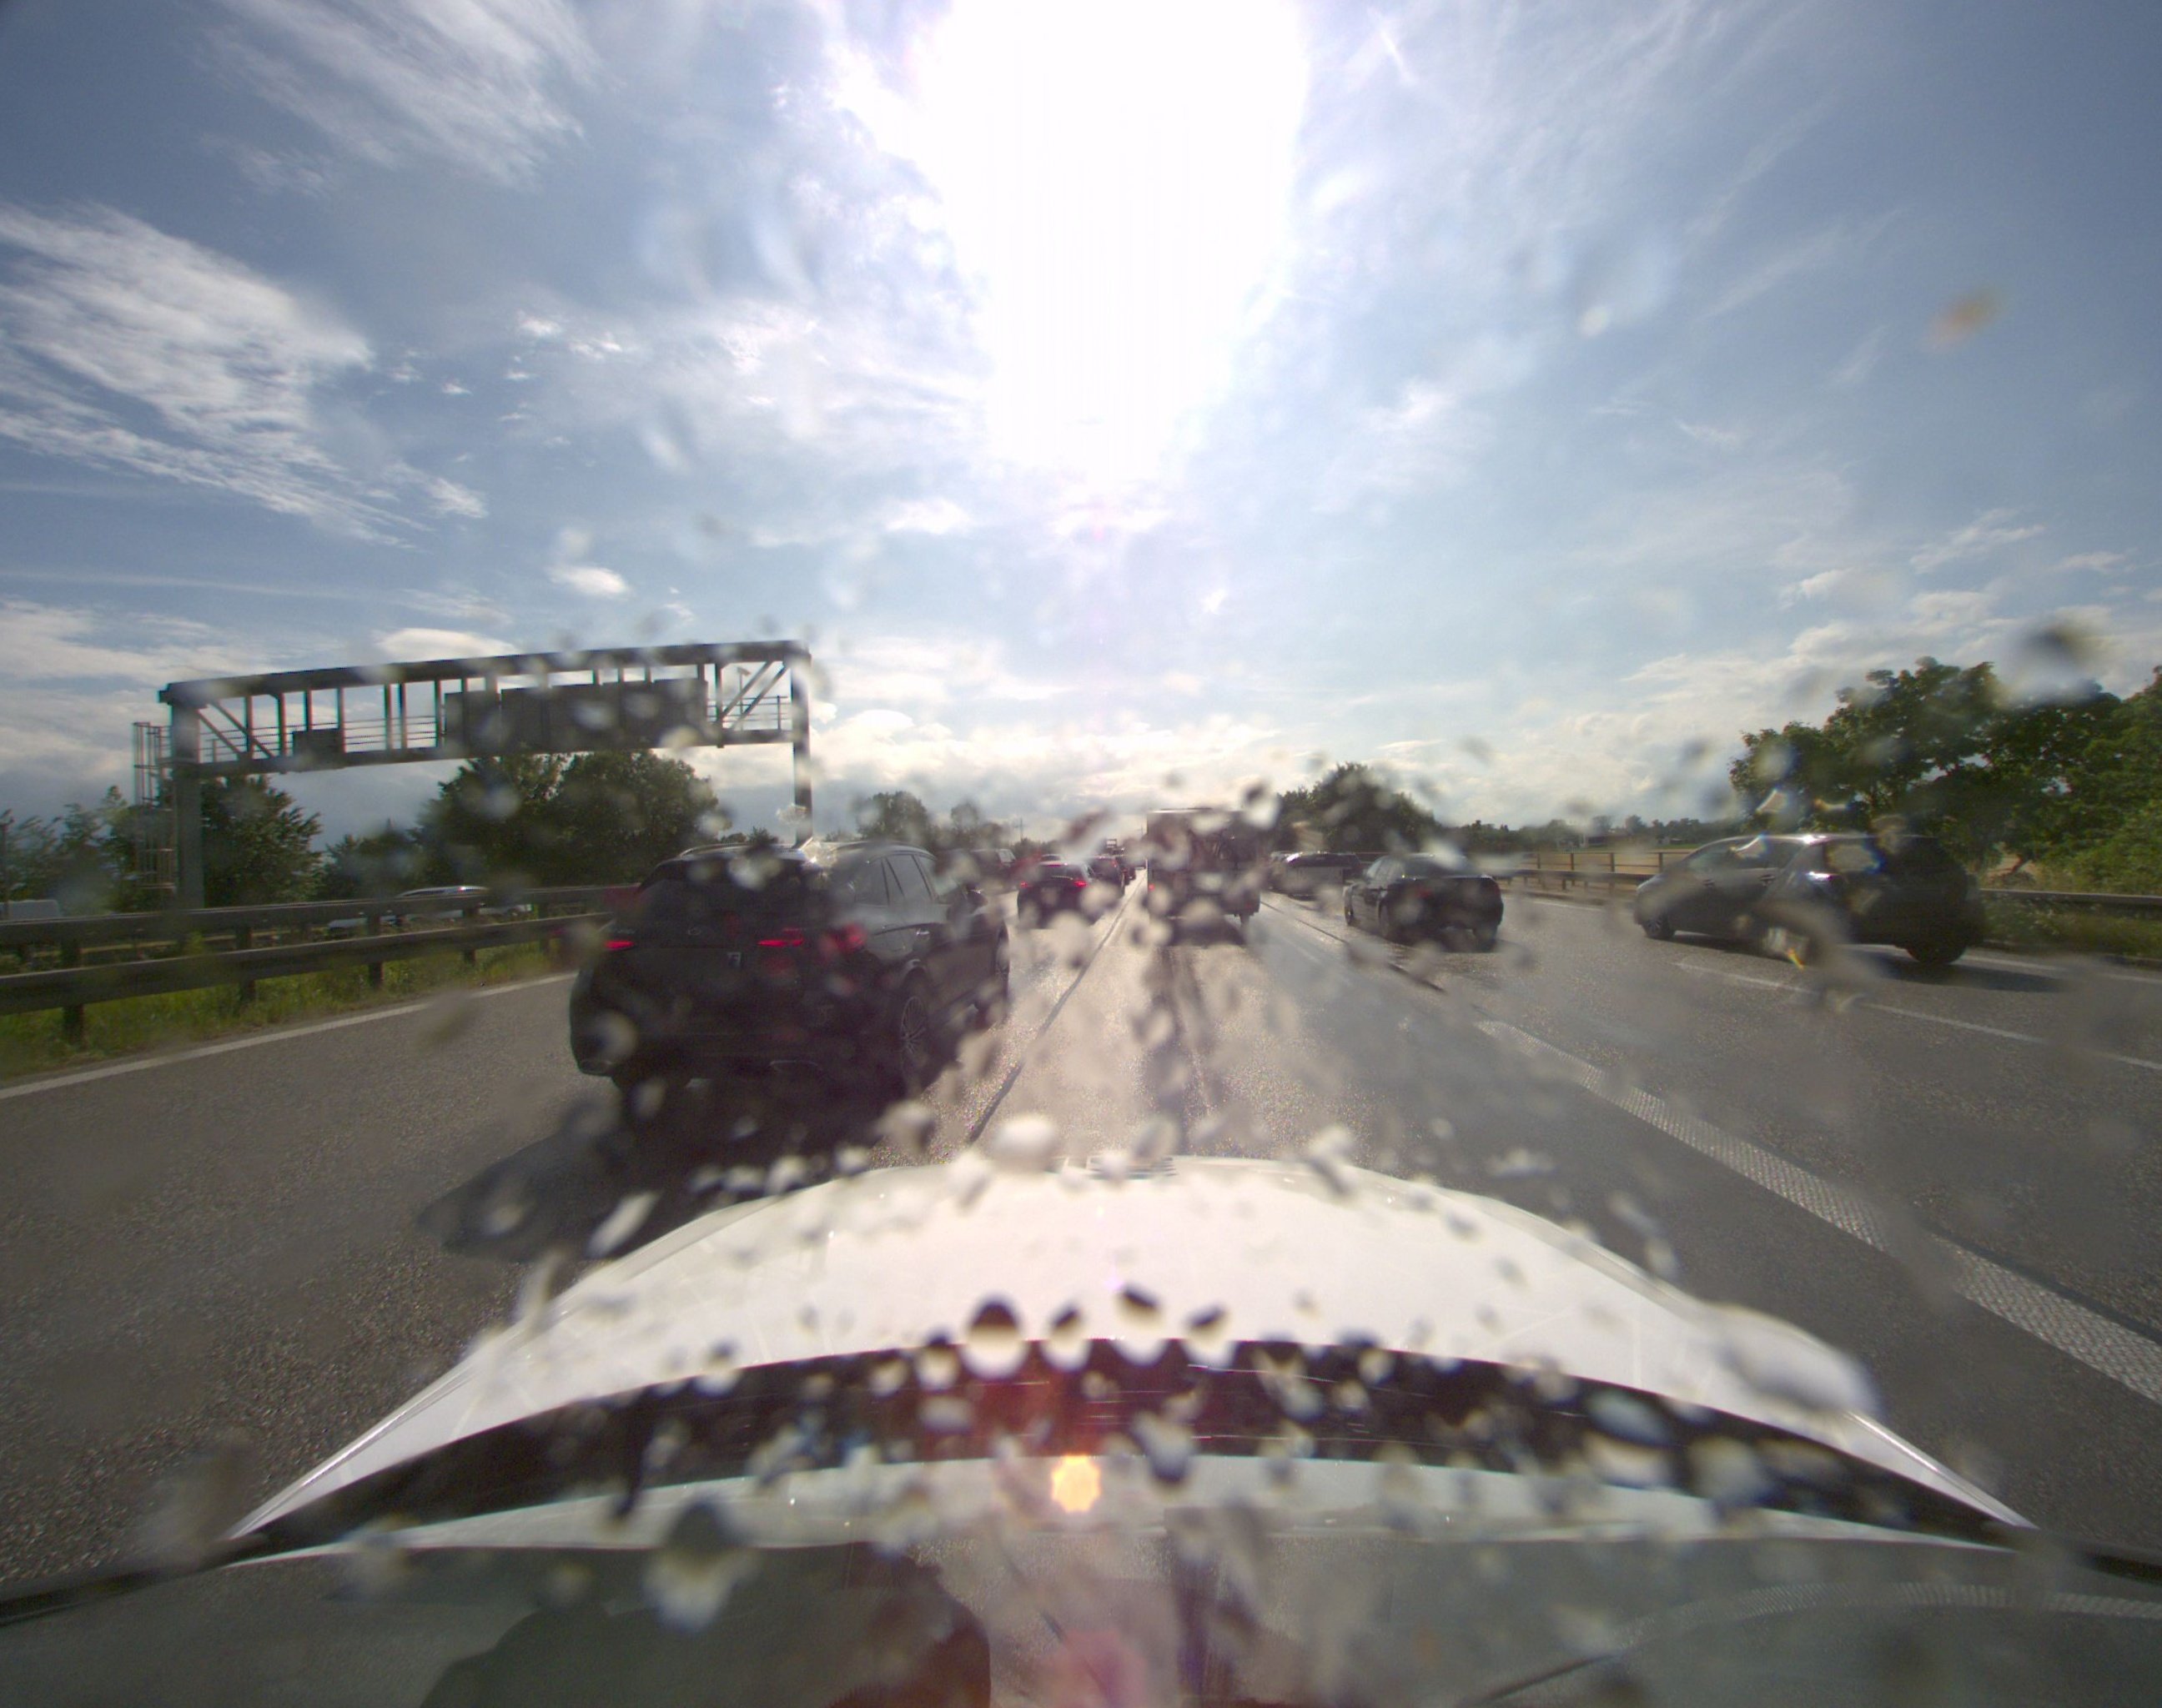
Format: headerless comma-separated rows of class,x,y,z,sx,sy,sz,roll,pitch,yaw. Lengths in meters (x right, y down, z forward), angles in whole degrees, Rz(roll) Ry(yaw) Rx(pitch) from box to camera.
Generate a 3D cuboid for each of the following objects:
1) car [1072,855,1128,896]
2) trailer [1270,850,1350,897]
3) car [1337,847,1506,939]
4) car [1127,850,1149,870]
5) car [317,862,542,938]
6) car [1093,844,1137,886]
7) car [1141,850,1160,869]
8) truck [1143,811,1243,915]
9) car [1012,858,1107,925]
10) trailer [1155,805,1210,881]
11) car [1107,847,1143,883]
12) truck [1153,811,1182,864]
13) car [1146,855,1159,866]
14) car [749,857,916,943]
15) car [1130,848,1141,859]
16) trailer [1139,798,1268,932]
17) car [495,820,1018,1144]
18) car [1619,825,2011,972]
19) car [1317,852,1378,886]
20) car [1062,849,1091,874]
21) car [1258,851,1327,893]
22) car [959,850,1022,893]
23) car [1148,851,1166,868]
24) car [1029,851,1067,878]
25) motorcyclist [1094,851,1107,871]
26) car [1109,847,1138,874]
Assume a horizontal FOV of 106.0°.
car,0.784,0.765,30.459,1.797,1.407,4.006,-1,0,5
trailer,7.637,0.608,27.572,1.846,1.442,4.153,-1,0,5
car,5.978,0.623,14.788,1.732,1.420,3.841,-1,0,5
car,5.764,0.597,81.910,1.983,2.013,4.007,1,0,6
car,-16.593,1.094,21.125,1.984,1.687,4.466,-1,0,4
car,1.799,0.542,41.841,1.983,2.013,4.007,-1,0,6
car,7.522,0.572,87.705,1.983,2.013,4.007,0,0,6
truck,2.934,0.232,22.382,2.363,2.477,5.764,-1,0,5
car,-0.403,0.823,19.642,1.748,1.387,3.952,-1,0,6
trailer,6.178,-0.577,49.423,2.991,4.166,8.553,-1,0,7
car,2.762,0.649,50.316,1.984,2.013,4.007,2,0,6
truck,8.351,-1.484,78.854,2.491,4.830,7.551,-1,0,4
car,11.822,1.012,134.660,1.868,1.760,4.002,-1,0,2
car,-4.943,0.842,16.881,1.748,1.516,4.216,-1,0,6
car,9.202,-0.084,137.586,1.868,1.760,4.002,-1,0,2
trailer,2.581,0.221,18.506,2.363,2.483,6.532,-1,0,5
car,-1.900,0.686,6.460,1.983,1.661,4.413,-1,0,6
car,9.684,0.502,11.346,1.779,1.613,4.392,-1,0,6
car,11.967,0.637,36.827,1.762,1.401,4.297,-1,0,6
car,-0.323,0.653,69.941,1.984,2.013,4.007,2,0,6
car,7.943,0.627,30.910,1.846,1.442,4.264,-1,0,5
car,-3.808,0.722,34.853,1.985,1.720,4.004,-1,0,4
car,9.435,0.649,100.876,1.984,2.013,4.007,2,0,6
car,-2.163,0.708,55.178,1.983,1.772,4.007,-1,0,6
motorcyclist,1.628,0.588,68.472,1.058,1.718,0.786,-1,-1,5
car,3.379,0.528,64.038,1.983,2.013,4.007,-1,0,6
